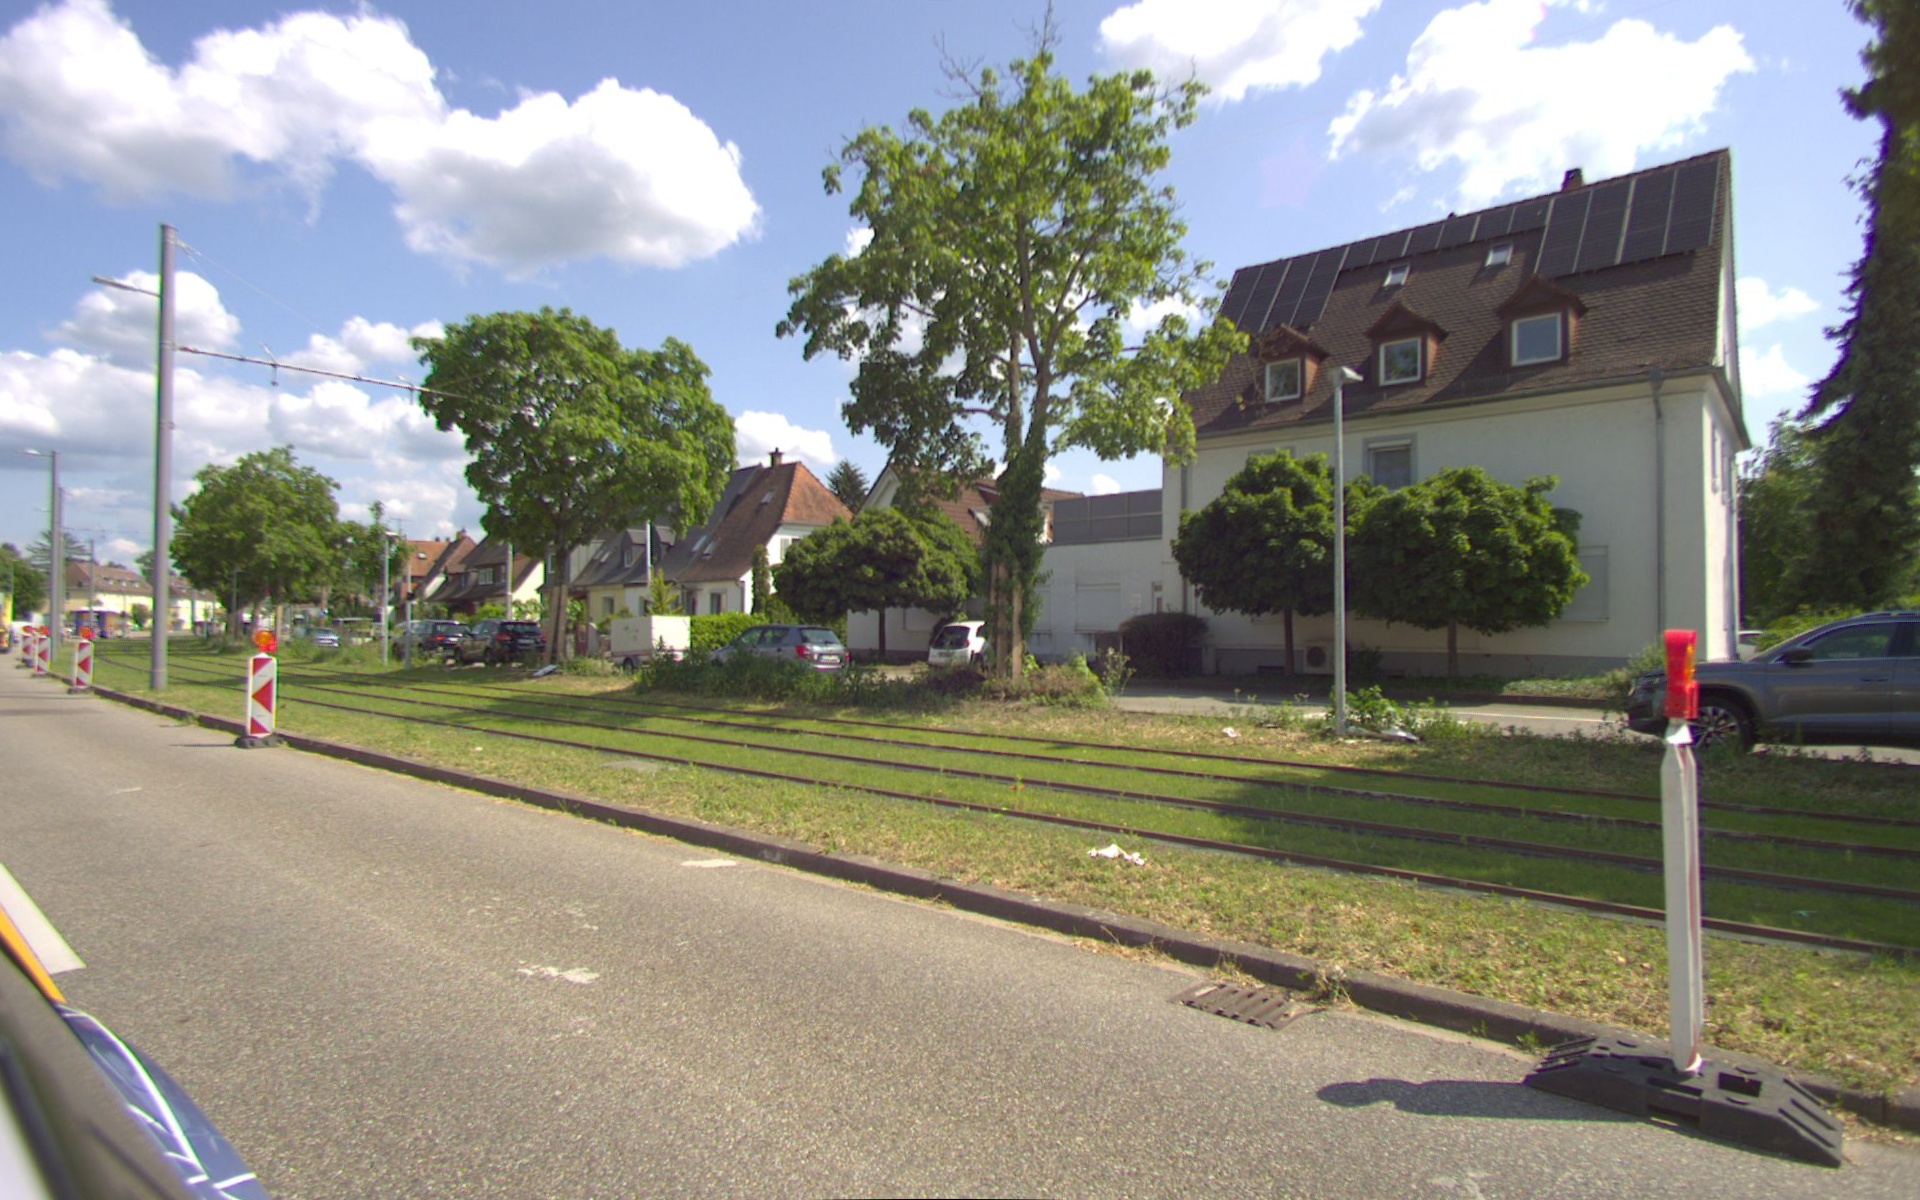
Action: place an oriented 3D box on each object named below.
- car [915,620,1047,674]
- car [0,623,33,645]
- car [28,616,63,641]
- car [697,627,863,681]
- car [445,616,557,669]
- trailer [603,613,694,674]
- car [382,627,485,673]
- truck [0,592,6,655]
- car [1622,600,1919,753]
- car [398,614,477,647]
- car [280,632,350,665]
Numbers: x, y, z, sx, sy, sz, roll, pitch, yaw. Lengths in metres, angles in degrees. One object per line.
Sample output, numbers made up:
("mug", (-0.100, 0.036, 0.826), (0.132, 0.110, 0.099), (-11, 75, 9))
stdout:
("car", (0.698, 1.490, 31.259), (1.999, 1.539, 3.945), (-4, -5, 40))
("car", (-70.094, 2.517, 75.059), (1.490, 1.510, 3.582), (3, -3, -36))
("car", (-78.423, 2.451, 86.828), (1.813, 2.070, 3.877), (3, -3, -37))
("car", (-4.226, 1.218, 23.494), (3.834, 1.101, 1.762), (-1, -3, 41))
("car", (-15.466, 1.471, 34.053), (4.099, 1.590, 1.885), (-3, -7, 42))
("trailer", (-8.271, 1.140, 26.843), (2.281, 1.530, 1.286), (-1, -3, 41))
("car", (-19.436, 1.828, 37.296), (4.321, 1.551, 1.972), (-1, -3, 42))
("truck", (-55.629, 1.308, 56.919), (2.664, 3.392, 8.055), (4, -4, -44))
("car", (9.978, 0.802, 10.955), (4.485, 1.517, 1.972), (-1, -3, 42))
("car", (-32.975, 1.947, 63.920), (3.939, 2.029, 2.002), (3, -3, -43))
("car", (-32.457, 2.428, 50.867), (4.324, 1.551, 1.971), (-1, -3, 44))
